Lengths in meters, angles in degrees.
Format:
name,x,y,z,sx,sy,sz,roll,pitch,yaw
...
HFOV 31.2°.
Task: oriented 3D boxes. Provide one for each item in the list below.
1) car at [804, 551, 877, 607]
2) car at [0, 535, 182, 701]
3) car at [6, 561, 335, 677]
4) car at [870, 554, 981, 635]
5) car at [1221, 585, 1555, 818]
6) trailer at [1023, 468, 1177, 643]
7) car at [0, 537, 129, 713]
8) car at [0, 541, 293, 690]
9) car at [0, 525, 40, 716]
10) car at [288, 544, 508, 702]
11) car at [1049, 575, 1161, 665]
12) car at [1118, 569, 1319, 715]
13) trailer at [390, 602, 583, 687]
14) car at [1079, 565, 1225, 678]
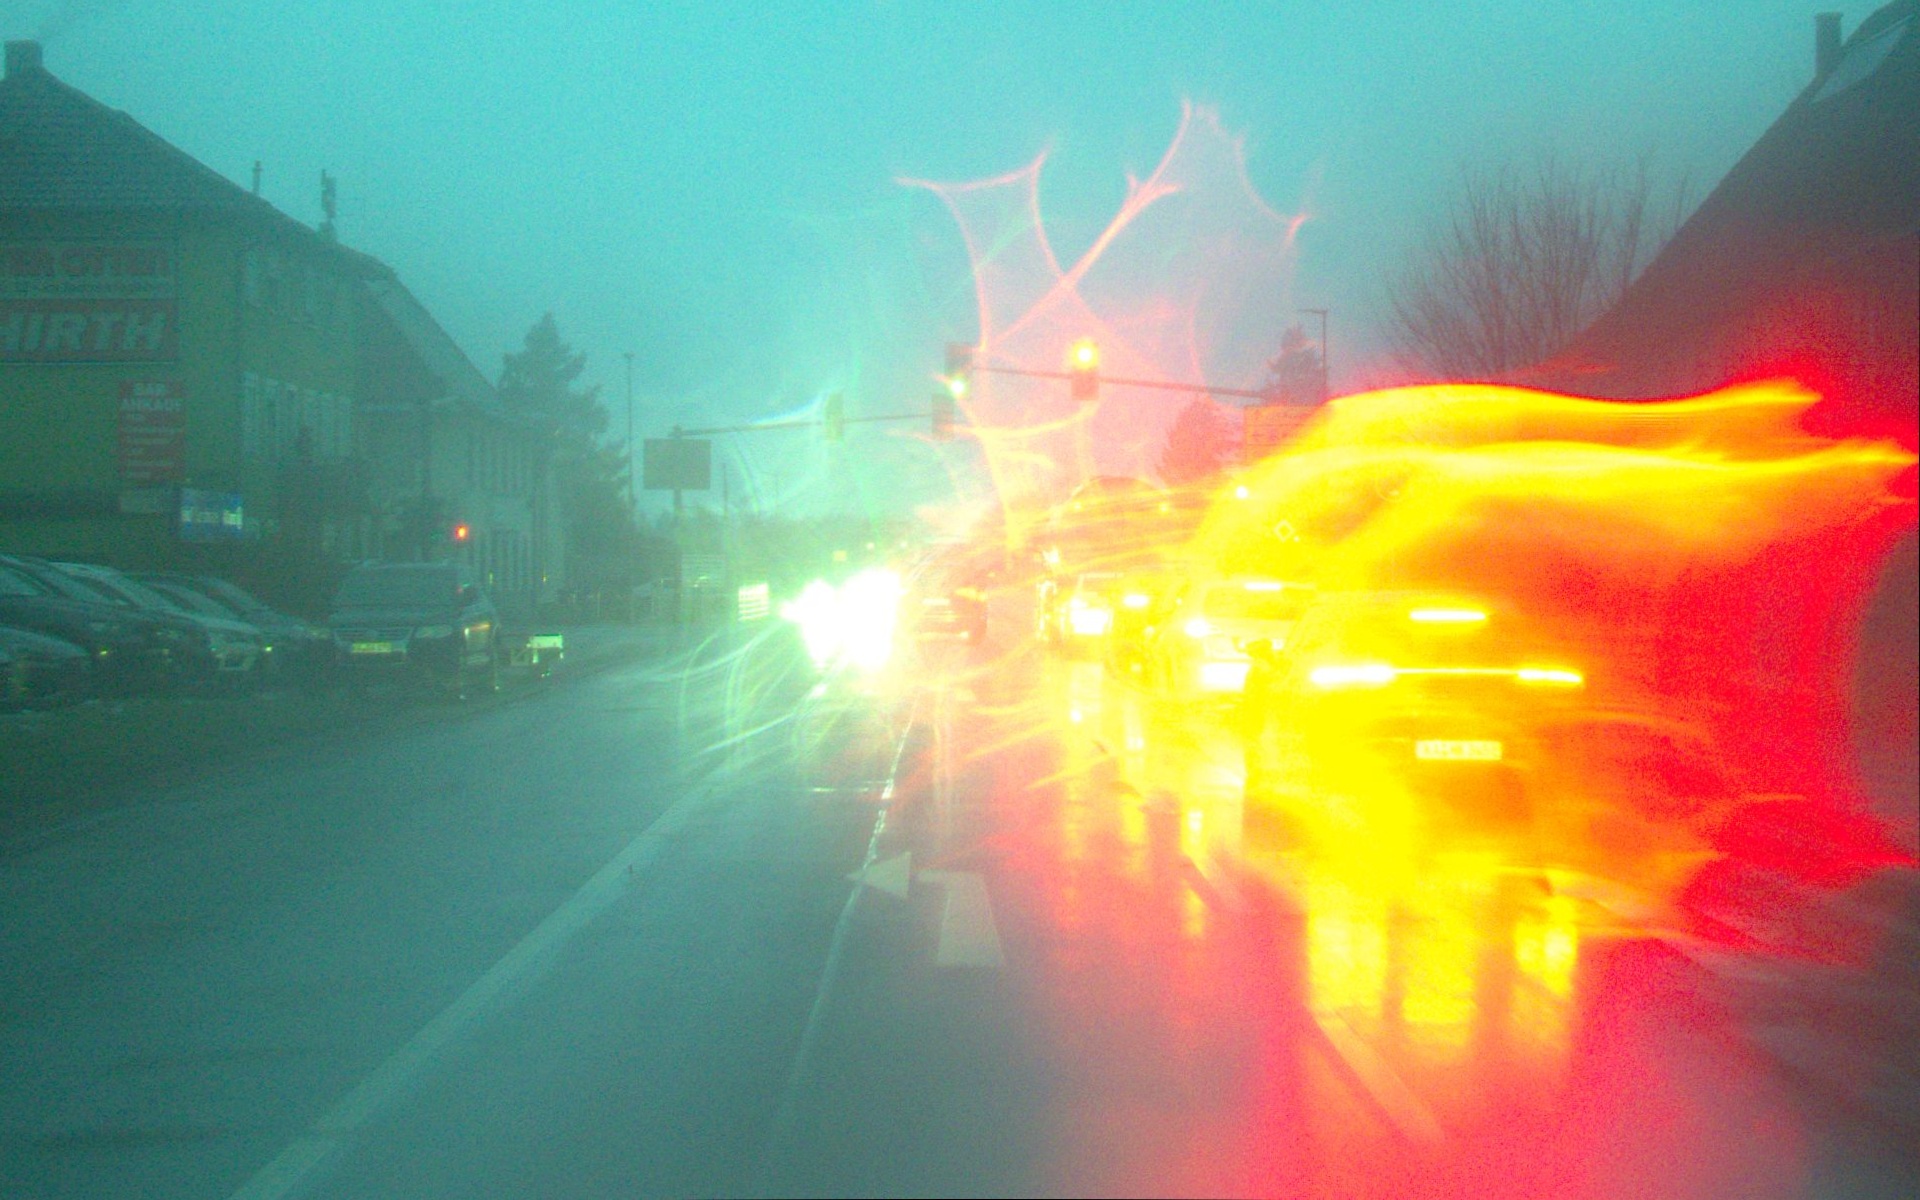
name,x,y,z,sx,sy,sz,roll,pitch,yaw
car,-3.849,-0.703,111.497,1.994,1.740,4.000,-1,1,3
car,-10.811,0.119,37.102,4.276,1.657,2.137,3,1,0
car,-10.341,0.240,45.185,3.894,1.423,1.719,1,0,1
car,-0.737,-0.134,69.694,2.047,1.567,4.703,-1,1,-3
car,2.760,0.601,23.093,1.641,1.362,4.769,1,0,0
trailer,2.716,-0.876,69.712,2.488,3.230,10.869,1,0,-1
car,-10.718,0.153,34.354,4.276,1.657,2.000,3,1,0
car,-10.614,0.156,42.497,4.276,1.621,2.000,3,1,0
car,-10.963,0.086,31.853,4.276,1.757,2.000,3,1,0
car,-6.896,0.231,42.620,1.970,1.824,4.513,-1,1,0
car,2.436,0.313,58.485,1.662,1.434,4.382,1,0,0
car,2.503,0.370,34.120,1.653,1.331,4.272,0,1,0
trailer,-6.861,0.619,50.436,1.993,1.035,6.104,-1,1,0
car,2.796,0.285,50.859,1.836,1.563,4.504,1,1,0
